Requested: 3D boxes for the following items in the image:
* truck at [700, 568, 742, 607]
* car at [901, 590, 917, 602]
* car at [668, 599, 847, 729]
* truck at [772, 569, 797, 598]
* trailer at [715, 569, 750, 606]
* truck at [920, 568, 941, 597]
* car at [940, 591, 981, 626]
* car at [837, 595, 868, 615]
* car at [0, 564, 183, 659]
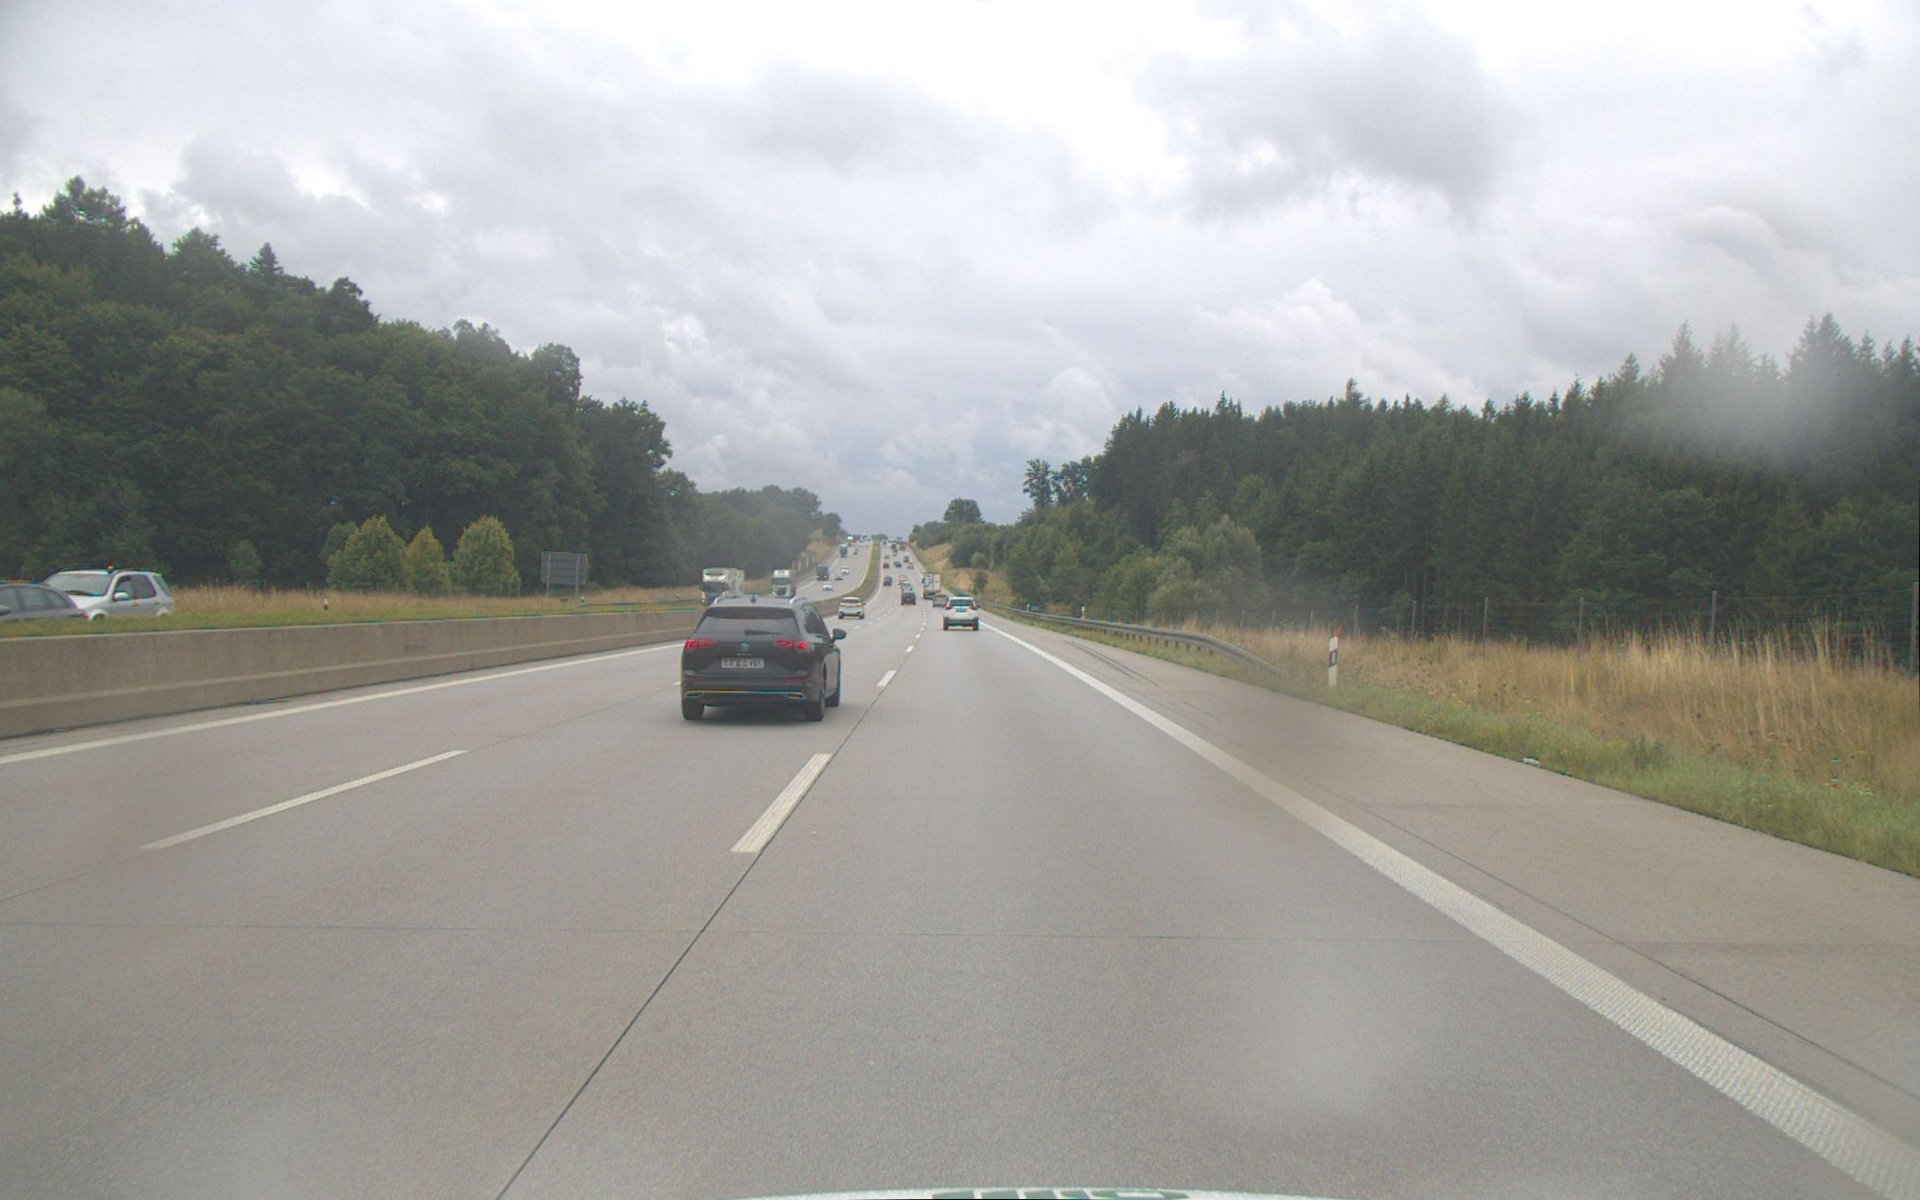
[{"bbox_3d":[-24.394,-1.249,169.293,2.756,3.838,11.348,1,0,-1],"label":"truck"},{"bbox_3d":[-6.430,-0.539,209.164,1.896,1.399,4.593,1,1,-2],"label":"car"},{"bbox_3d":[-2.432,0.725,20.891,1.717,1.422,4.484,1,0,0],"label":"car"},{"bbox_3d":[-25.894,-2.414,244.267,3.148,4.128,7.163,1,0,-2],"label":"truck"},{"bbox_3d":[-24.563,-1.323,178.859,2.761,3.849,7.714,1,0,-1],"label":"trailer"},{"bbox_3d":[-4.572,-2.768,255.534,2.957,4.252,8.351,1,2,-3],"label":"truck"},{"bbox_3d":[-0.008,0.399,83.612,1.790,1.684,3.982,1,0,-4],"label":"car"},{"bbox_3d":[-7.895,0.368,121.751,1.907,1.379,4.260,1,0,1],"label":"car"},{"bbox_3d":[-18.229,0.217,34.569,1.953,1.831,4.390,1,0,-1],"label":"car"}]
